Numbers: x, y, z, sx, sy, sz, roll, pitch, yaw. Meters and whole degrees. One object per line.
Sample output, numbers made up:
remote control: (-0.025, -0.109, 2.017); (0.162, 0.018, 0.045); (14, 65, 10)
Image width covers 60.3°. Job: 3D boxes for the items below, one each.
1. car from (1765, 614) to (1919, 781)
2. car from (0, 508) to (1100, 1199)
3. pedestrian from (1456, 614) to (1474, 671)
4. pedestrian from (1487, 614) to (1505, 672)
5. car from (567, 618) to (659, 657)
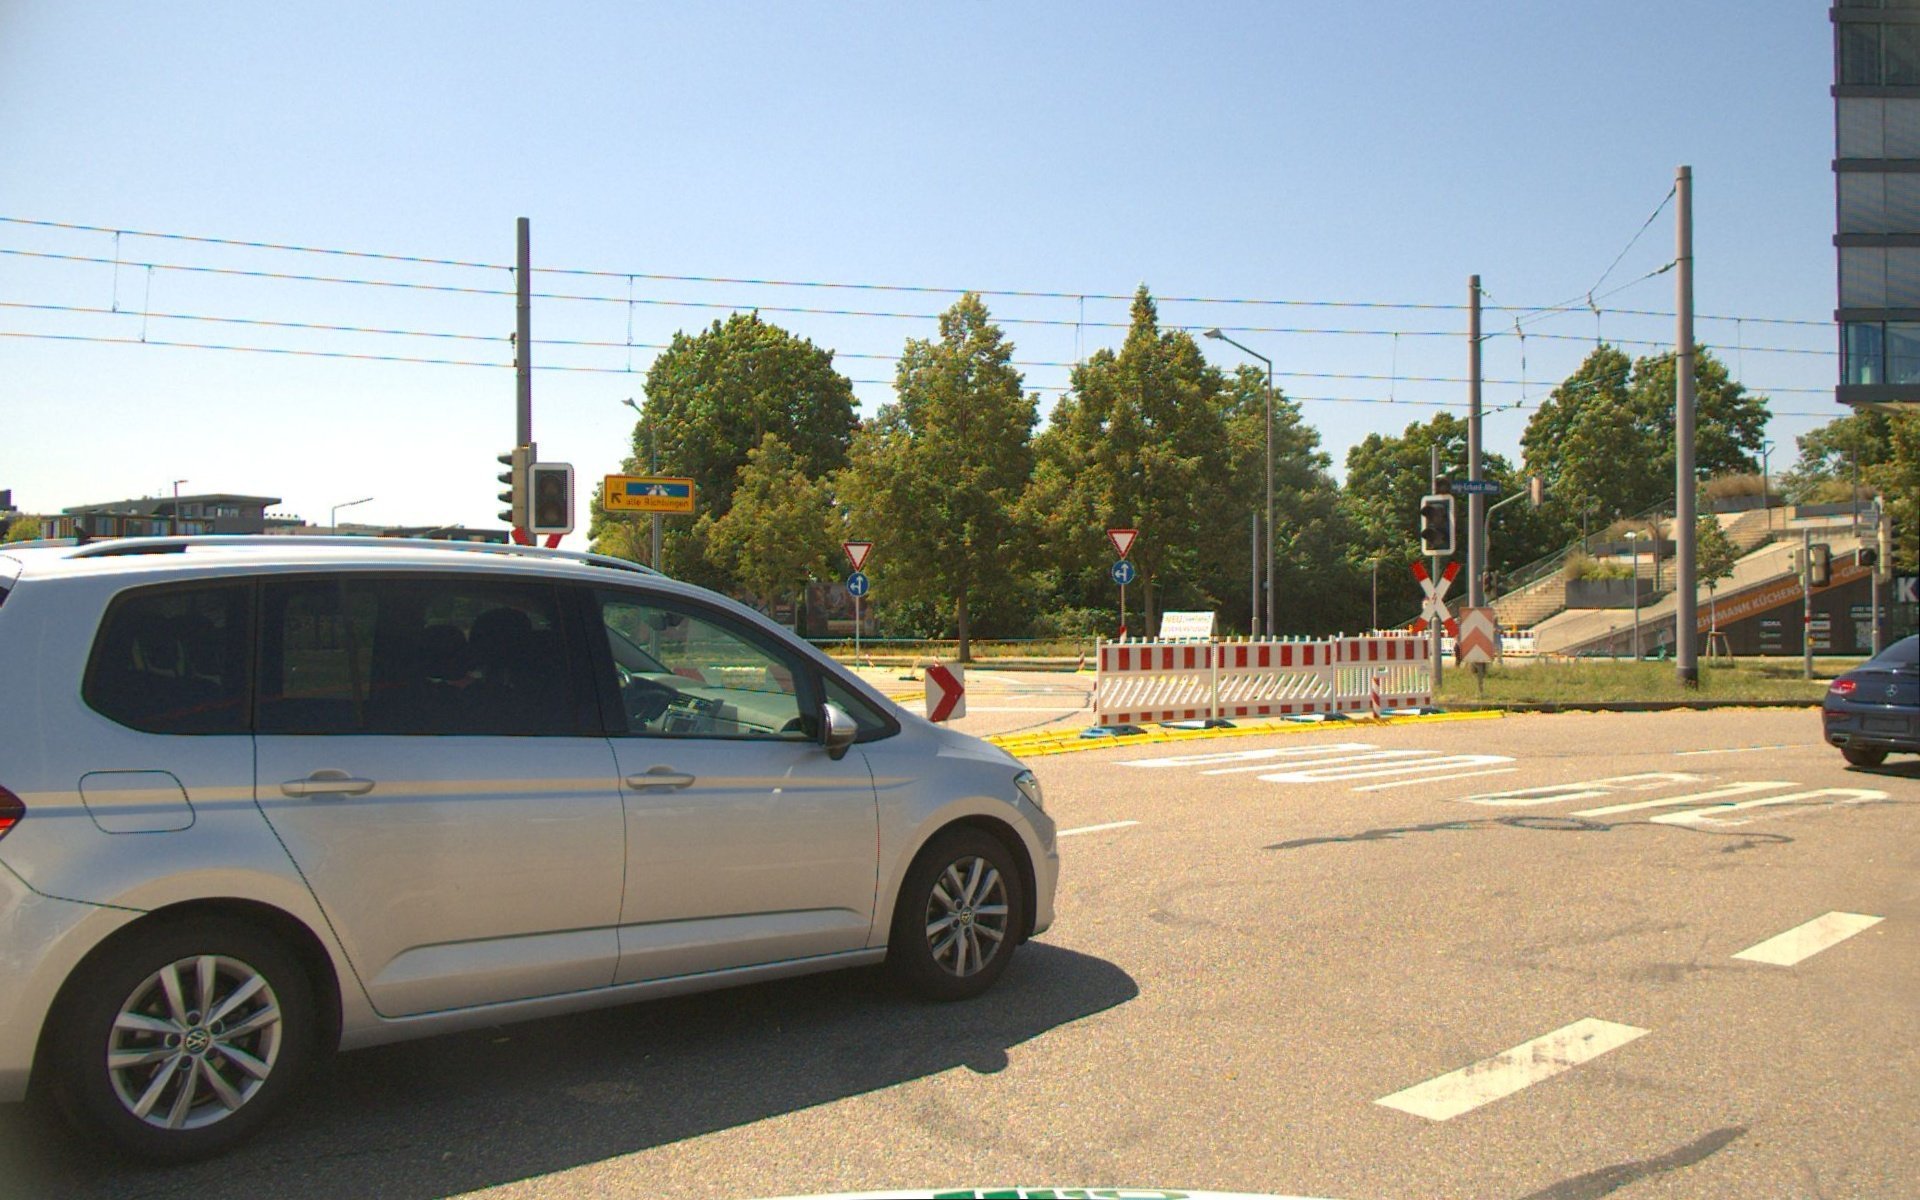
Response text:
car: (10.223, 0.890, 16.407); (4.894, 1.462, 1.836); (1, 0, -34)
car: (-1.716, 0.611, 5.622); (4.566, 1.677, 1.778); (0, 1, -43)
pedestrian: (15.523, 1.305, 50.831); (0.439, 1.769, 0.291); (0, -1, -6)
pedestrian: (16.521, 1.317, 50.993); (0.439, 1.769, 0.317); (0, -1, -6)
car: (-13.956, 1.485, 66.403); (1.979, 1.512, 4.307); (0, -1, -38)
